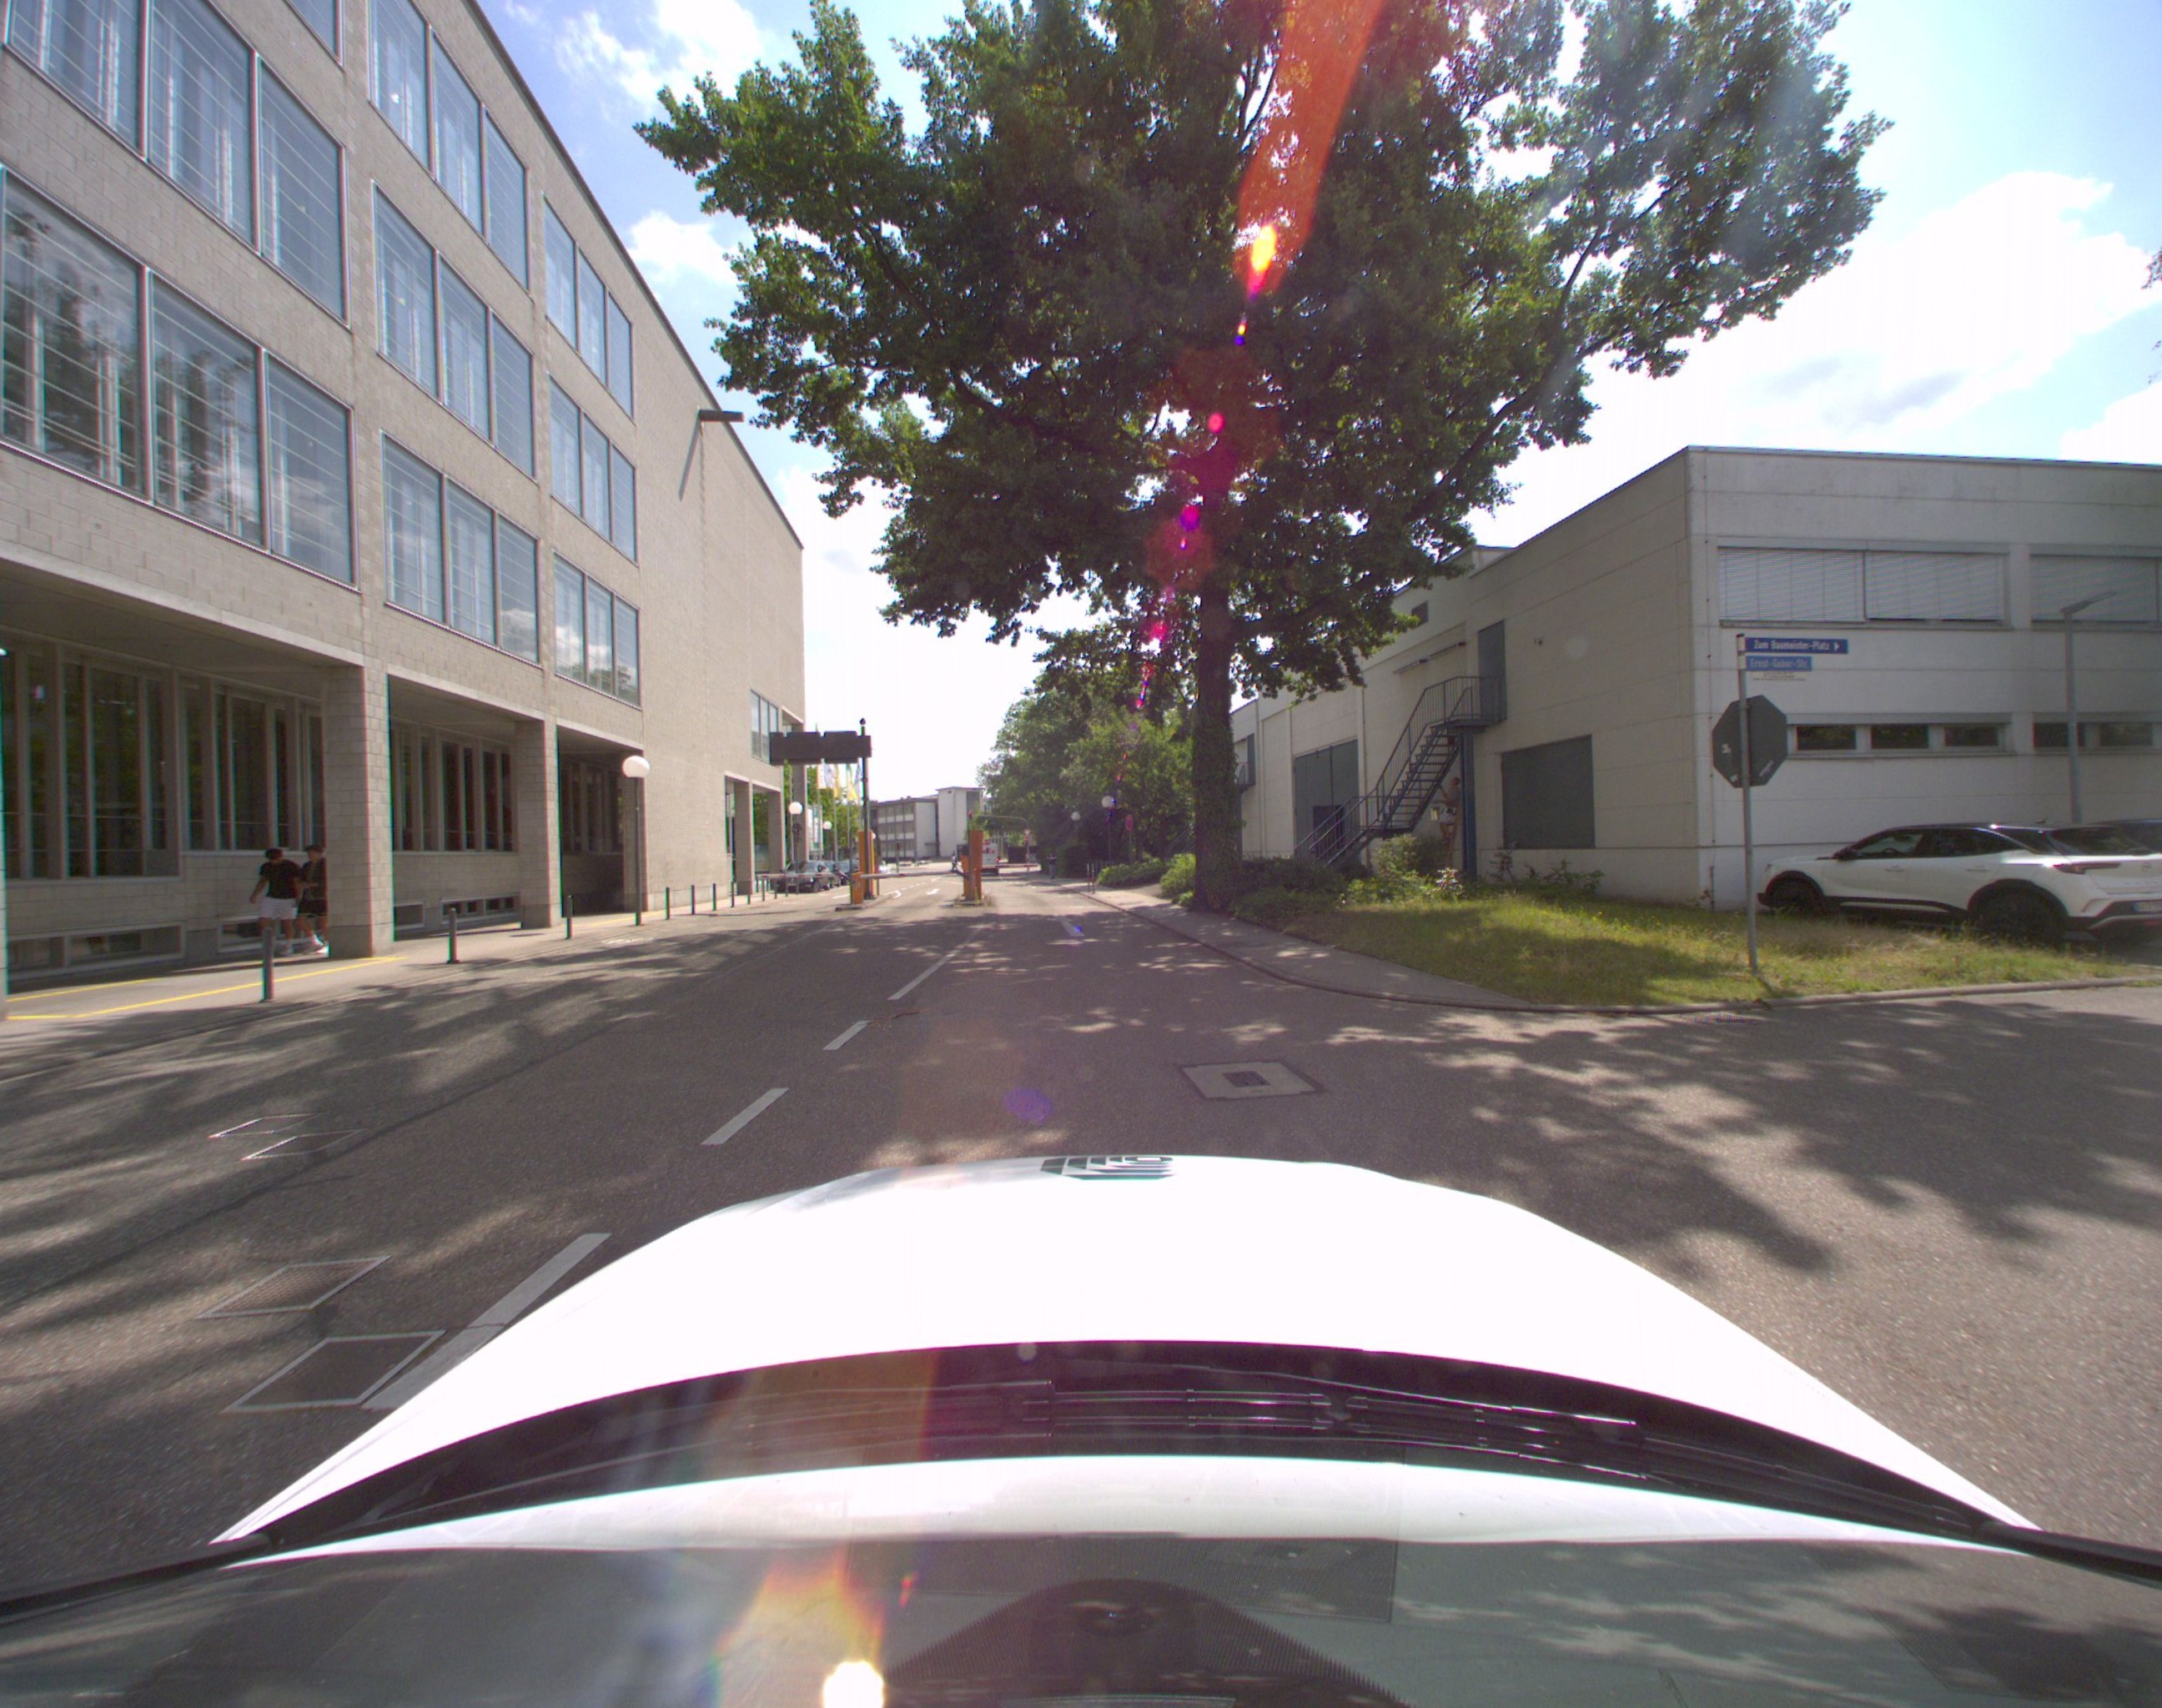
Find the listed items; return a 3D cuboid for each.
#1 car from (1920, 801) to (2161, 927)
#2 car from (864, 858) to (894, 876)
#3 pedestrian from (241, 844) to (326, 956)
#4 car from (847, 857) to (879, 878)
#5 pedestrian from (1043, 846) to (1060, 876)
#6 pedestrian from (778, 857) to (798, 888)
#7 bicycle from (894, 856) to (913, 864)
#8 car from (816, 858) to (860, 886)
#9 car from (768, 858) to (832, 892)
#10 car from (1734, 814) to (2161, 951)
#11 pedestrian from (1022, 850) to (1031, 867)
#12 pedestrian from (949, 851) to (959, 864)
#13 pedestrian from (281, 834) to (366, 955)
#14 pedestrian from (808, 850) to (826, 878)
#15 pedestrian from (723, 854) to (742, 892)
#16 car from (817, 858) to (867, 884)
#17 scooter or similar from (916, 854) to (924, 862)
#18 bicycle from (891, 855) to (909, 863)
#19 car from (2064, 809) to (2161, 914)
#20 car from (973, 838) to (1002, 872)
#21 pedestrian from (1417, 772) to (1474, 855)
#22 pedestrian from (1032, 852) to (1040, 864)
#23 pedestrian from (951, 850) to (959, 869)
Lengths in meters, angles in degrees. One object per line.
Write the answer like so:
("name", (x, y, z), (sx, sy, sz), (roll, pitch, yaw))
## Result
("car", (14.550, 0.078, 11.154), (1.823, 1.578, 3.992), (-2, 3, -6))
("car", (-16.142, 1.020, 65.332), (1.674, 1.395, 4.652), (0, 0, -6))
("pedestrian", (-13.758, 0.774, 14.068), (0.730, 1.880, 0.718), (-1, 0, -7))
("car", (-16.067, 0.987, 60.251), (1.674, 1.467, 3.902), (0, 0, -6))
("pedestrian", (-1.706, 0.387, 47.164), (0.739, 1.674, 1.252), (-2, 0, -10))
("pedestrian", (-19.701, 1.209, 54.787), (0.984, 2.013, 1.160), (-2, 0, -11))
("bicycle", (-30.886, 1.013, 141.774), (2.983, 1.363, 1.103), (-1, 0, -44))
("car", (-13.029, 0.934, 43.763), (1.637, 1.467, 3.698), (0, 0, -7))
("car", (-13.038, 0.930, 38.100), (1.858, 1.467, 4.707), (0, 0, -7))
("car", (11.652, 0.220, 11.187), (1.667, 1.476, 4.170), (-2, 3, -9))
("pedestrian", (-5.296, 0.416, 78.795), (0.731, 1.576, 0.772), (-1, 0, -12))
("pedestrian", (-20.405, 0.566, 130.950), (1.134, 2.013, 1.158), (-2, 0, 7))
("pedestrian", (-13.014, 0.673, 14.016), (0.698, 2.013, 0.828), (-1, 0, -7))
("pedestrian", (-19.363, 0.711, 59.647), (0.894, 2.027, 0.802), (-2, 0, 23))
("pedestrian", (-22.192, 1.201, 51.867), (0.754, 2.422, 0.738), (-2, 0, 1))
("car", (-14.056, 0.971, 48.122), (1.856, 1.378, 5.007), (0, 0, -5))
("scooter or similar", (-21.840, 0.541, 110.386), (0.718, 1.178, 2.709), (-2, 0, -17))
("bicycle", (-31.751, 0.925, 142.768), (2.983, 1.363, 1.103), (-1, 0, -44))
("car", (16.878, 0.082, 11.417), (1.626, 1.552, 3.611), (-2, 0, -11))
("car", (-7.631, 0.071, 66.172), (2.093, 2.566, 5.588), (-2, 0, -7))
("pedestrian", (9.240, -1.010, 20.690), (0.925, 2.013, 0.948), (-2, 0, -4))
("pedestrian", (-6.181, 0.541, 111.115), (0.829, 1.523, 0.808), (-2, 0, -26))
("pedestrian", (-12.126, 0.522, 78.438), (0.718, 1.859, 0.768), (-2, 0, -5))
